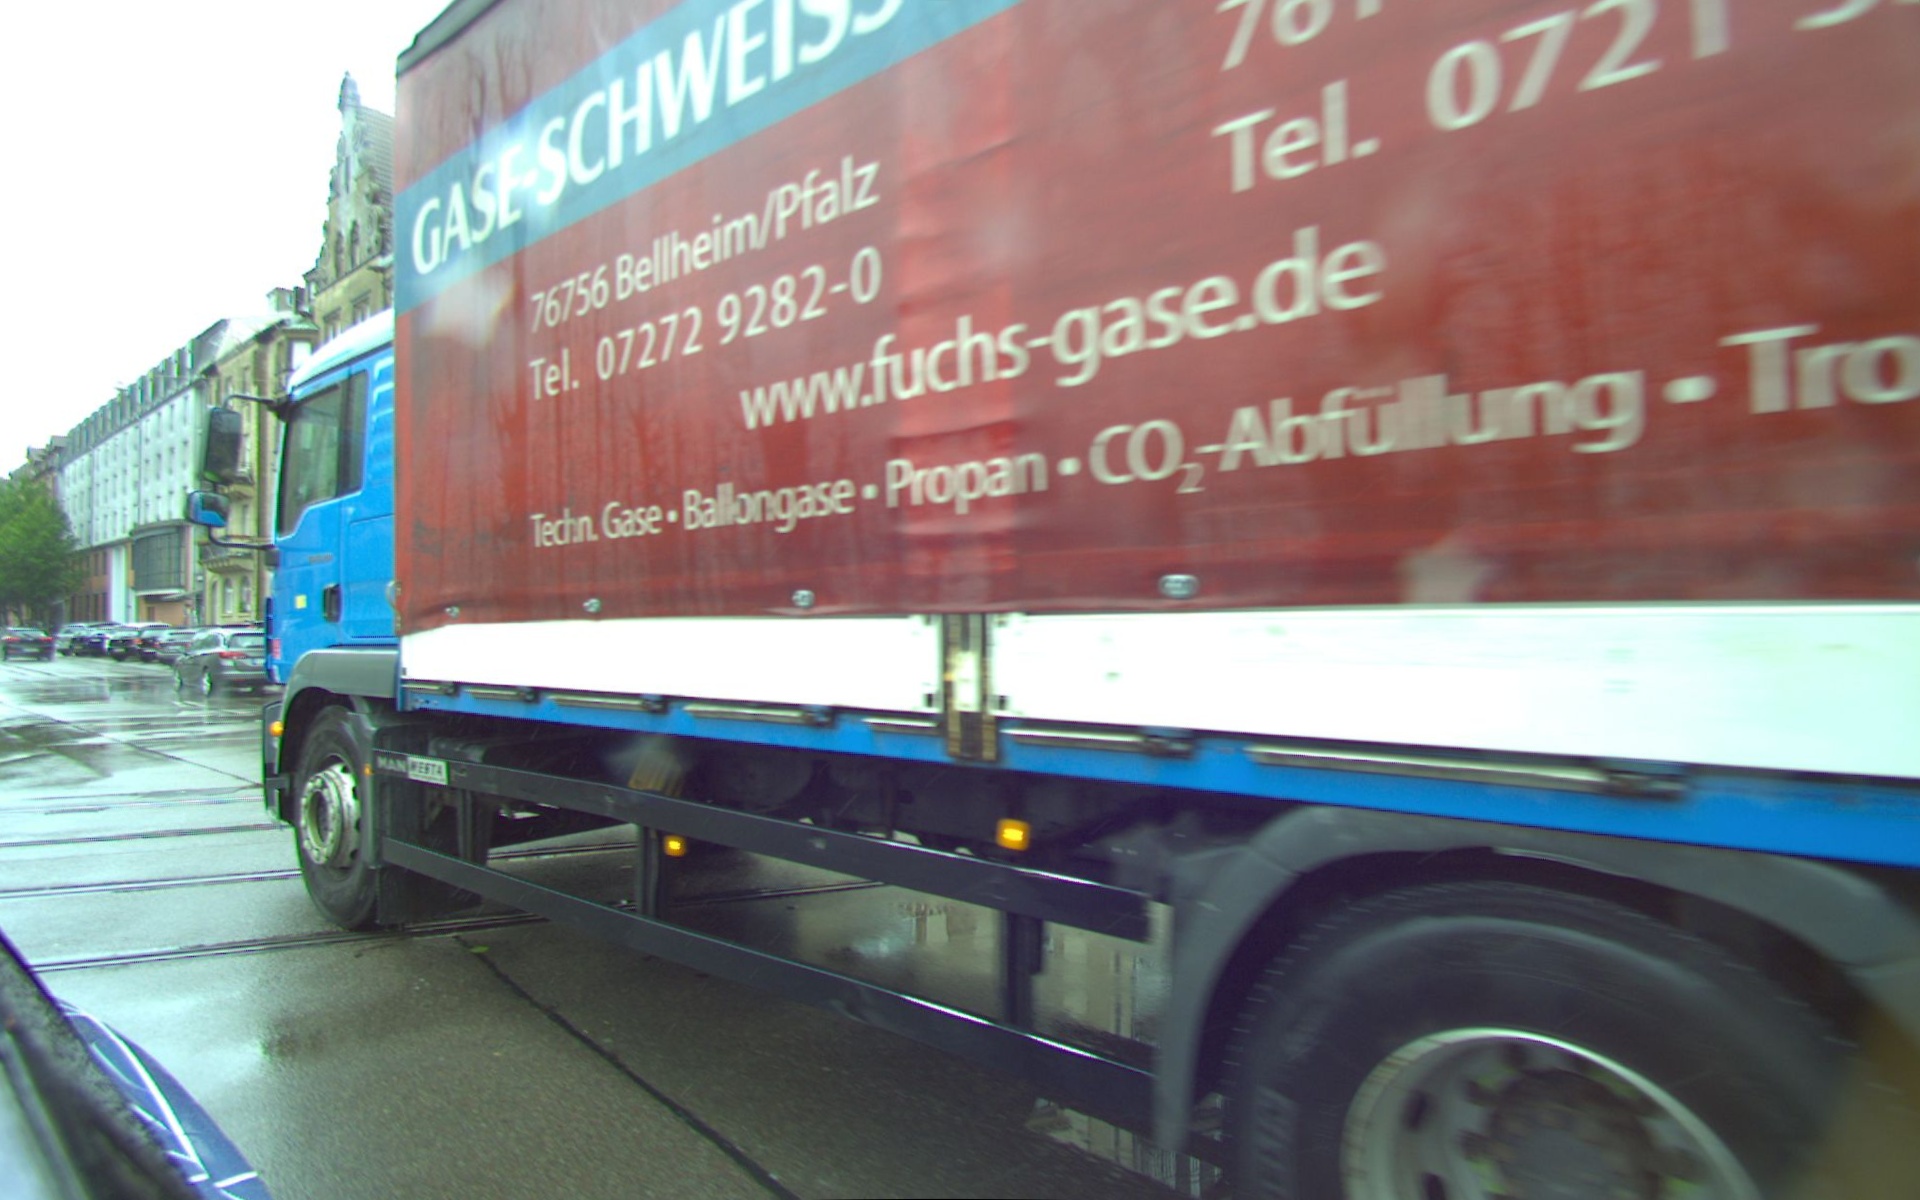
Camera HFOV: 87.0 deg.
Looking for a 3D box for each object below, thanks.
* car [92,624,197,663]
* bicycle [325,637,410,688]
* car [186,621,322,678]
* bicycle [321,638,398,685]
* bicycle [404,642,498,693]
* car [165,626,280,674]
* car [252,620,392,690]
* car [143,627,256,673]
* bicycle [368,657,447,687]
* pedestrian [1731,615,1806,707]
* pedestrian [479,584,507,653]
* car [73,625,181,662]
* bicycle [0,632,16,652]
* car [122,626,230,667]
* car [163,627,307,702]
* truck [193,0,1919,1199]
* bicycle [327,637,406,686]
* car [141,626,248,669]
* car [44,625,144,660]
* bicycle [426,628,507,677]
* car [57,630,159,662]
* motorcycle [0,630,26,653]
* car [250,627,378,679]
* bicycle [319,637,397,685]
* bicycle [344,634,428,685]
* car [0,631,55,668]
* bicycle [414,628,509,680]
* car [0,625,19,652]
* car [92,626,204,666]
[{"bbox_3d":[-38.011,1.994,47.276,1.755,1.639,3.724,-2,0,3],"label":"car"},{"bbox_3d":[-16.271,1.696,27.835,0.474,1.193,1.961,-1,2,38],"label":"bicycle"},{"bbox_3d":[-24.263,1.662,34.982,1.740,1.705,4.083,-2,0,2],"label":"car"},{"bbox_3d":[-17.423,1.765,29.395,1.789,1.193,0.601,-5,2,-43],"label":"bicycle"},{"bbox_3d":[-14.223,1.860,28.368,0.639,1.356,2.319,-2,-2,36],"label":"bicycle"},{"bbox_3d":[-26.740,1.788,36.827,1.678,1.537,3.308,-2,0,3],"label":"car"},{"bbox_3d":[-19.697,1.639,31.465,1.778,1.518,4.003,-5,4,-1],"label":"car"},{"bbox_3d":[-29.016,1.880,38.726,1.678,1.555,3.428,-2,0,2],"label":"car"},{"bbox_3d":[-14.221,1.846,26.056,1.462,0.668,1.039,-1,1,11],"label":"bicycle"},{"bbox_3d":[15.122,1.131,18.932,0.743,1.661,0.840,2,-2,-28],"label":"pedestrian"},{"bbox_3d":[-16.005,0.635,34.690,0.833,2.358,0.767,1,-2,-26],"label":"pedestrian"},{"bbox_3d":[-40.239,2.072,48.997,1.881,1.539,3.716,0,1,10],"label":"car"},{"bbox_3d":[-59.805,2.632,62.529,0.772,1.181,2.024,-1,1,38],"label":"bicycle"},{"bbox_3d":[-33.324,1.943,43.137,1.606,1.555,3.757,-2,0,1],"label":"car"},{"bbox_3d":[-16.707,1.411,23.248,4.338,1.558,1.708,-1,-2,41],"label":"car"},{"bbox_3d":[0.755,-0.650,3.285,10.306,4.056,2.817,-1,-2,40],"label":"truck"},{"bbox_3d":[-16.536,1.698,28.231,0.467,1.193,1.792,-1,2,39],"label":"bicycle"},{"bbox_3d":[-31.136,1.910,41.272,1.608,1.555,3.438,-2,0,5],"label":"car"},{"bbox_3d":[-44.786,2.175,52.470,1.791,1.743,3.923,0,-2,0],"label":"car"},{"bbox_3d":[-14.227,1.486,29.232,0.584,1.356,2.038,-2,-2,36],"label":"bicycle"},{"bbox_3d":[-42.421,2.269,50.492,1.697,1.539,3.720,0,-2,6],"label":"car"},{"bbox_3d":[-58.877,2.564,62.125,0.758,1.320,2.226,-1,0,41],"label":"motorcycle"},{"bbox_3d":[-21.628,1.744,34.059,1.681,1.545,3.992,-2,-1,2],"label":"car"},{"bbox_3d":[-16.986,1.706,28.575,0.474,1.193,1.792,-1,2,40],"label":"bicycle"},{"bbox_3d":[-15.685,1.606,27.691,0.438,1.340,1.954,-2,-3,43],"label":"bicycle"},{"bbox_3d":[-41.465,2.172,44.747,3.777,1.558,1.725,-1,-3,42],"label":"car"},{"bbox_3d":[-13.725,1.461,27.960,0.639,1.356,2.319,-2,-2,36],"label":"bicycle"},{"bbox_3d":[-66.721,2.605,68.485,1.981,1.828,3.981,0,-2,15],"label":"car"},{"bbox_3d":[-35.848,2.010,44.792,1.757,1.555,3.720,-2,0,6],"label":"car"}]
